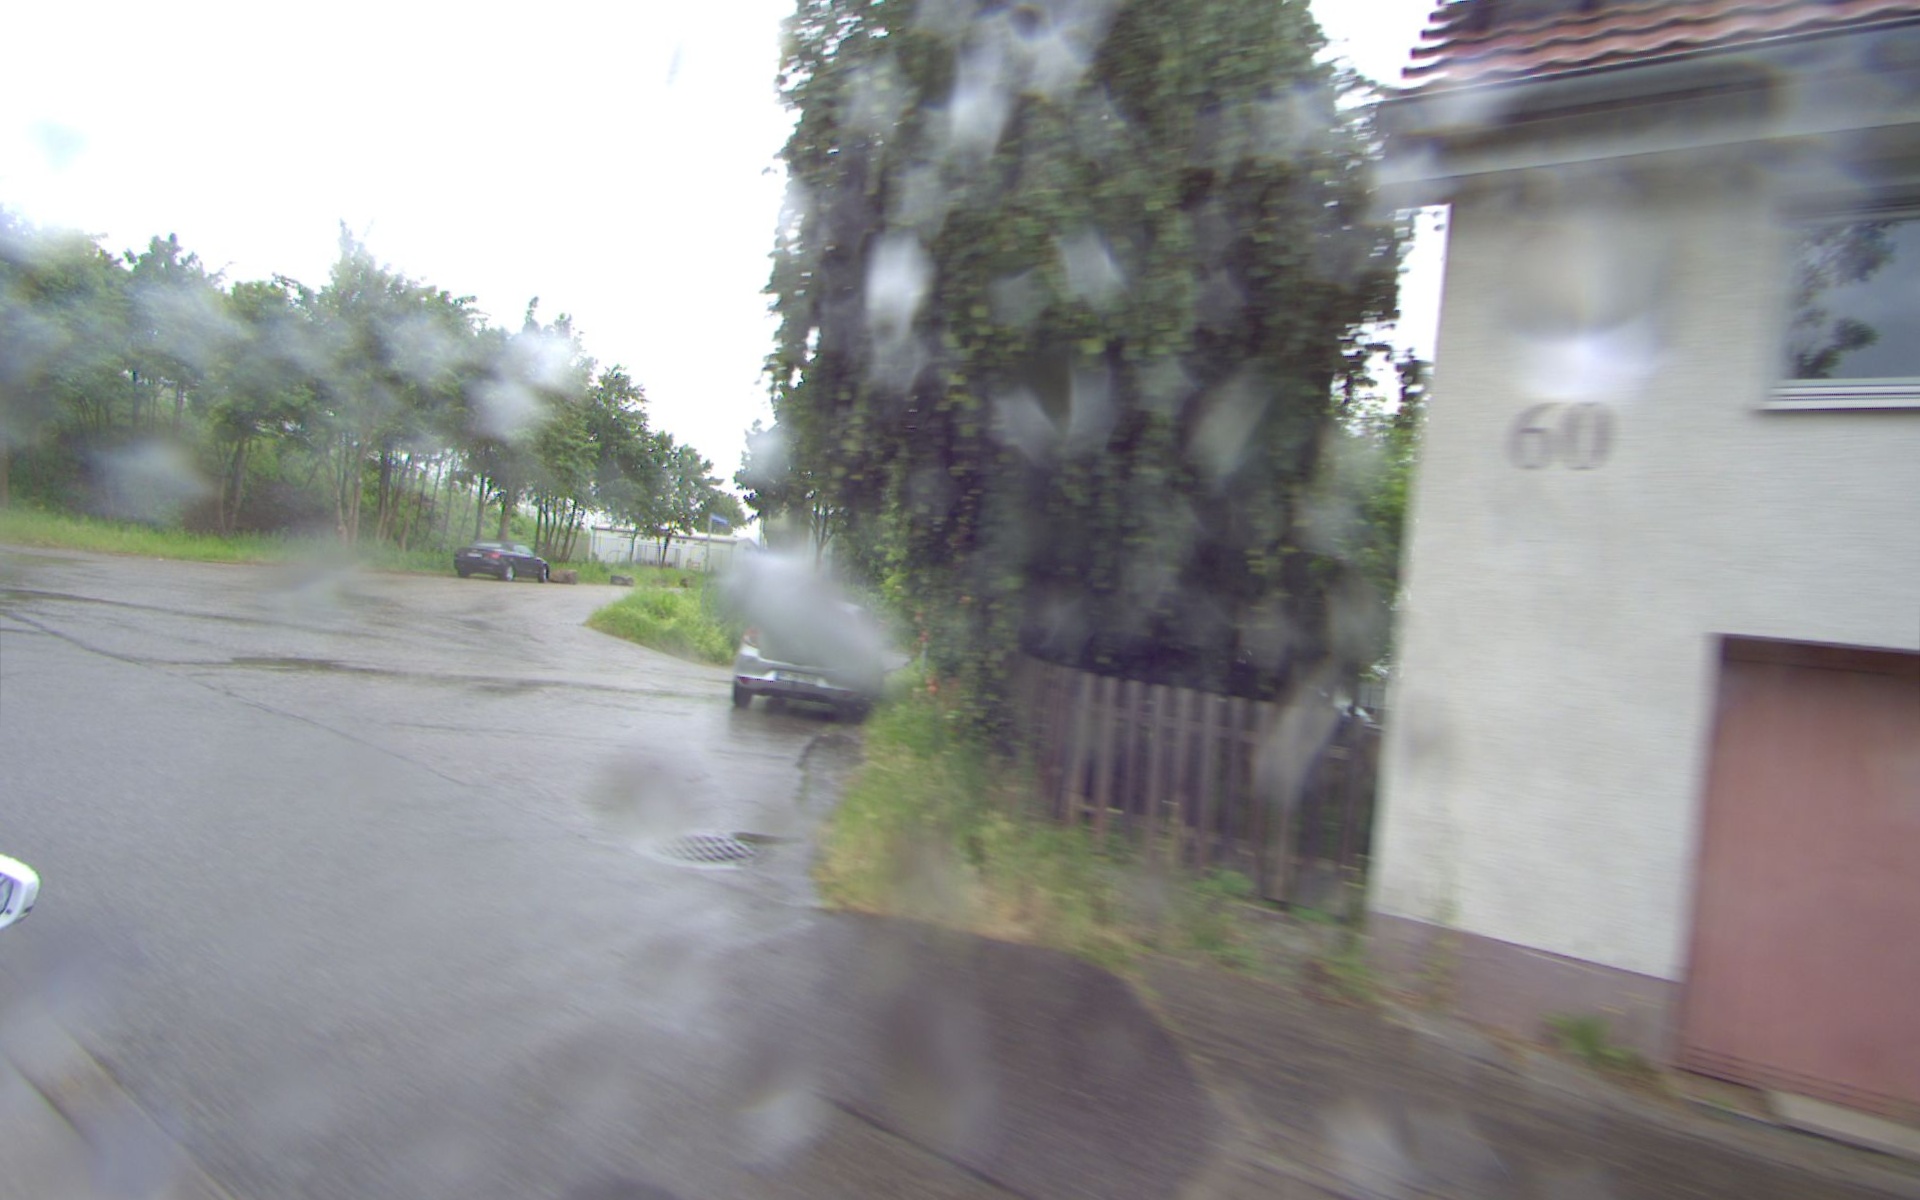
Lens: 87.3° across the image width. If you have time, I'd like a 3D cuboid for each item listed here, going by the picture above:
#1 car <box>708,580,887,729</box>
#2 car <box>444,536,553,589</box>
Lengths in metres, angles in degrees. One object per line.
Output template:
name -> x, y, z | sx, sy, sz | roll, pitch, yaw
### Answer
car -> -2.066, 0.709, 13.845 | 1.688, 1.549, 3.858 | 7, -2, 0
car -> -16.086, -1.261, 35.324 | 1.870, 1.375, 4.112 | 8, -2, -2
